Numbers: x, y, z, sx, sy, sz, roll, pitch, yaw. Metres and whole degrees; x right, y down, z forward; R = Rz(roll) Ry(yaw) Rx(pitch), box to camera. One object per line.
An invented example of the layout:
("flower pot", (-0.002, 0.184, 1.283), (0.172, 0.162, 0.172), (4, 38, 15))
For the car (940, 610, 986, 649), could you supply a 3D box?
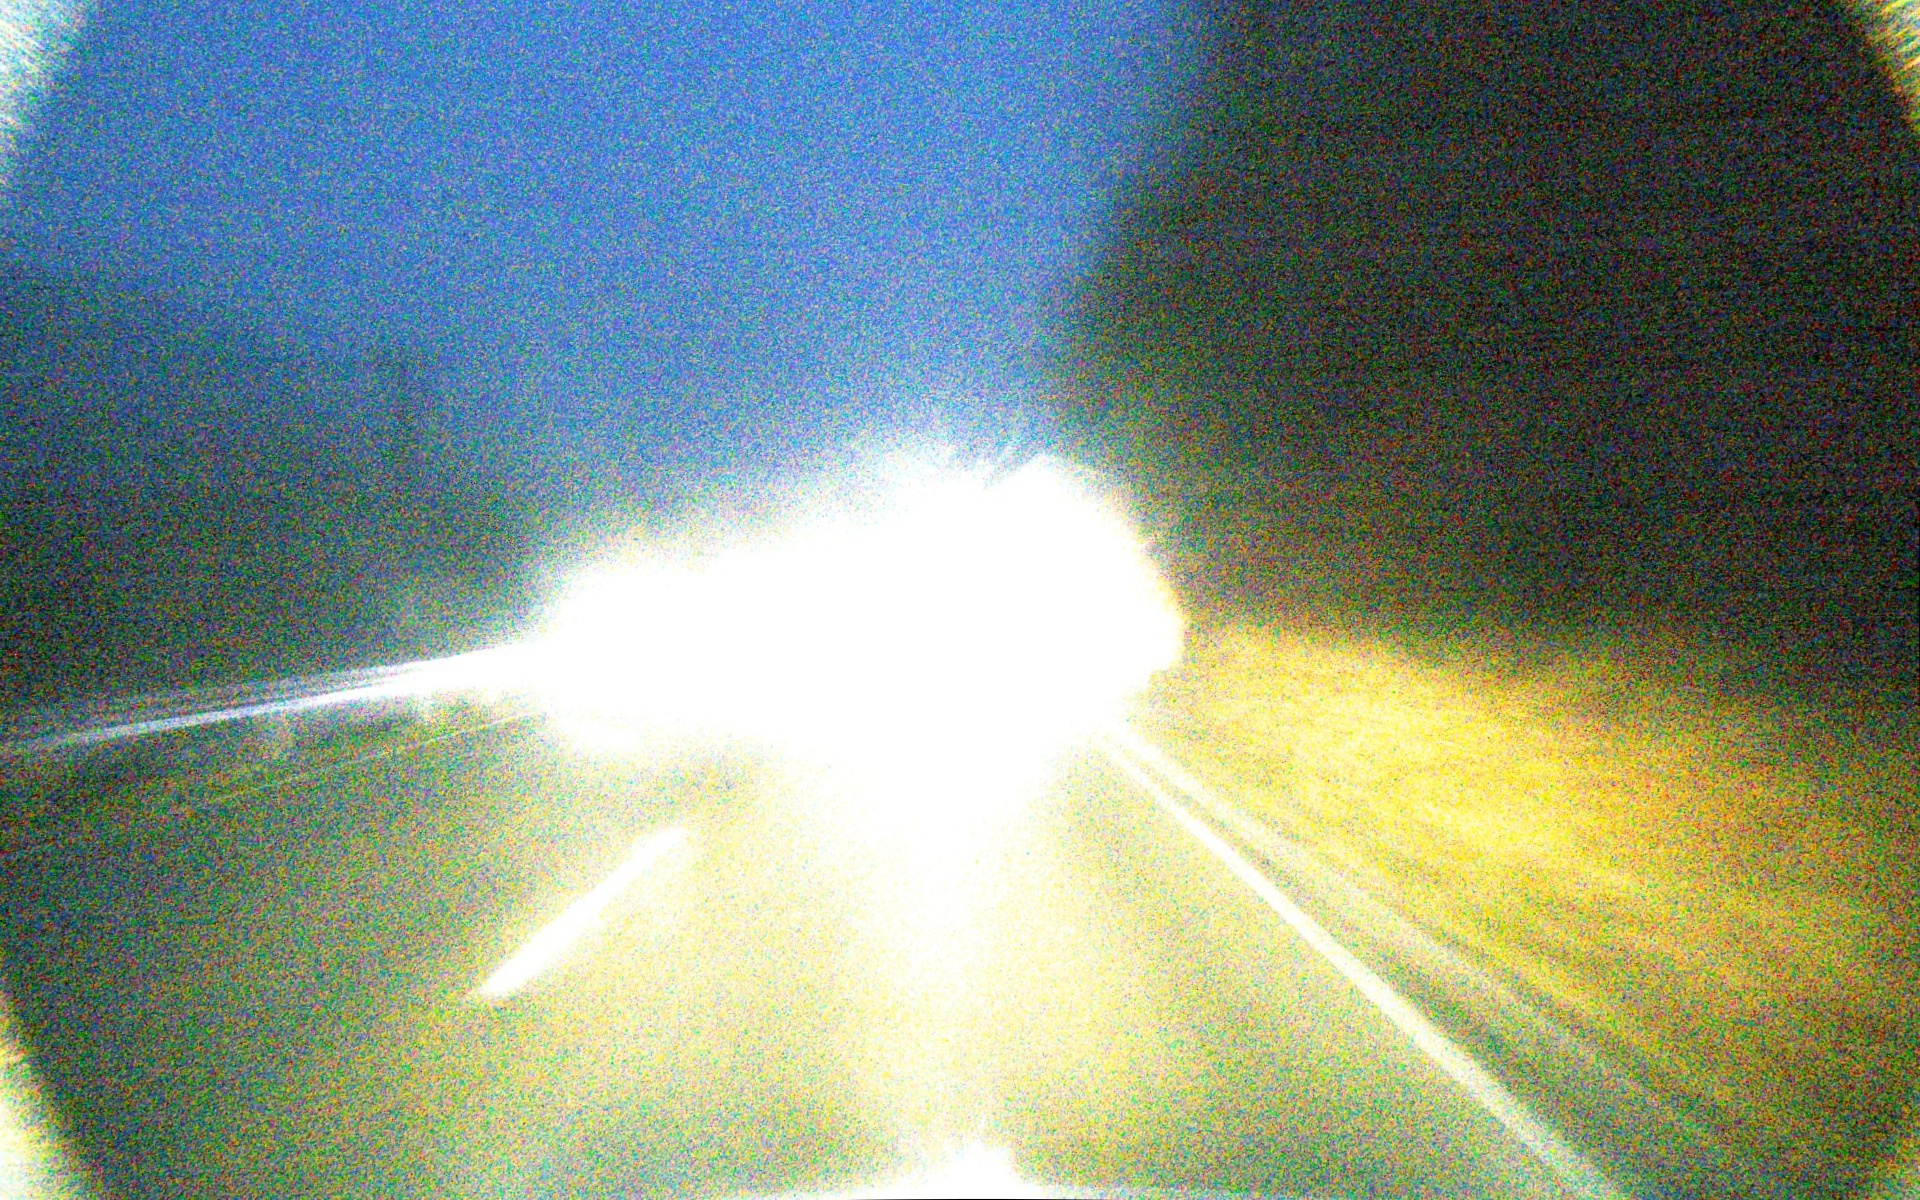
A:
("car", (0.190, 1.387, 77.252), (1.952, 1.722, 4.699), (1, -2, 2))
